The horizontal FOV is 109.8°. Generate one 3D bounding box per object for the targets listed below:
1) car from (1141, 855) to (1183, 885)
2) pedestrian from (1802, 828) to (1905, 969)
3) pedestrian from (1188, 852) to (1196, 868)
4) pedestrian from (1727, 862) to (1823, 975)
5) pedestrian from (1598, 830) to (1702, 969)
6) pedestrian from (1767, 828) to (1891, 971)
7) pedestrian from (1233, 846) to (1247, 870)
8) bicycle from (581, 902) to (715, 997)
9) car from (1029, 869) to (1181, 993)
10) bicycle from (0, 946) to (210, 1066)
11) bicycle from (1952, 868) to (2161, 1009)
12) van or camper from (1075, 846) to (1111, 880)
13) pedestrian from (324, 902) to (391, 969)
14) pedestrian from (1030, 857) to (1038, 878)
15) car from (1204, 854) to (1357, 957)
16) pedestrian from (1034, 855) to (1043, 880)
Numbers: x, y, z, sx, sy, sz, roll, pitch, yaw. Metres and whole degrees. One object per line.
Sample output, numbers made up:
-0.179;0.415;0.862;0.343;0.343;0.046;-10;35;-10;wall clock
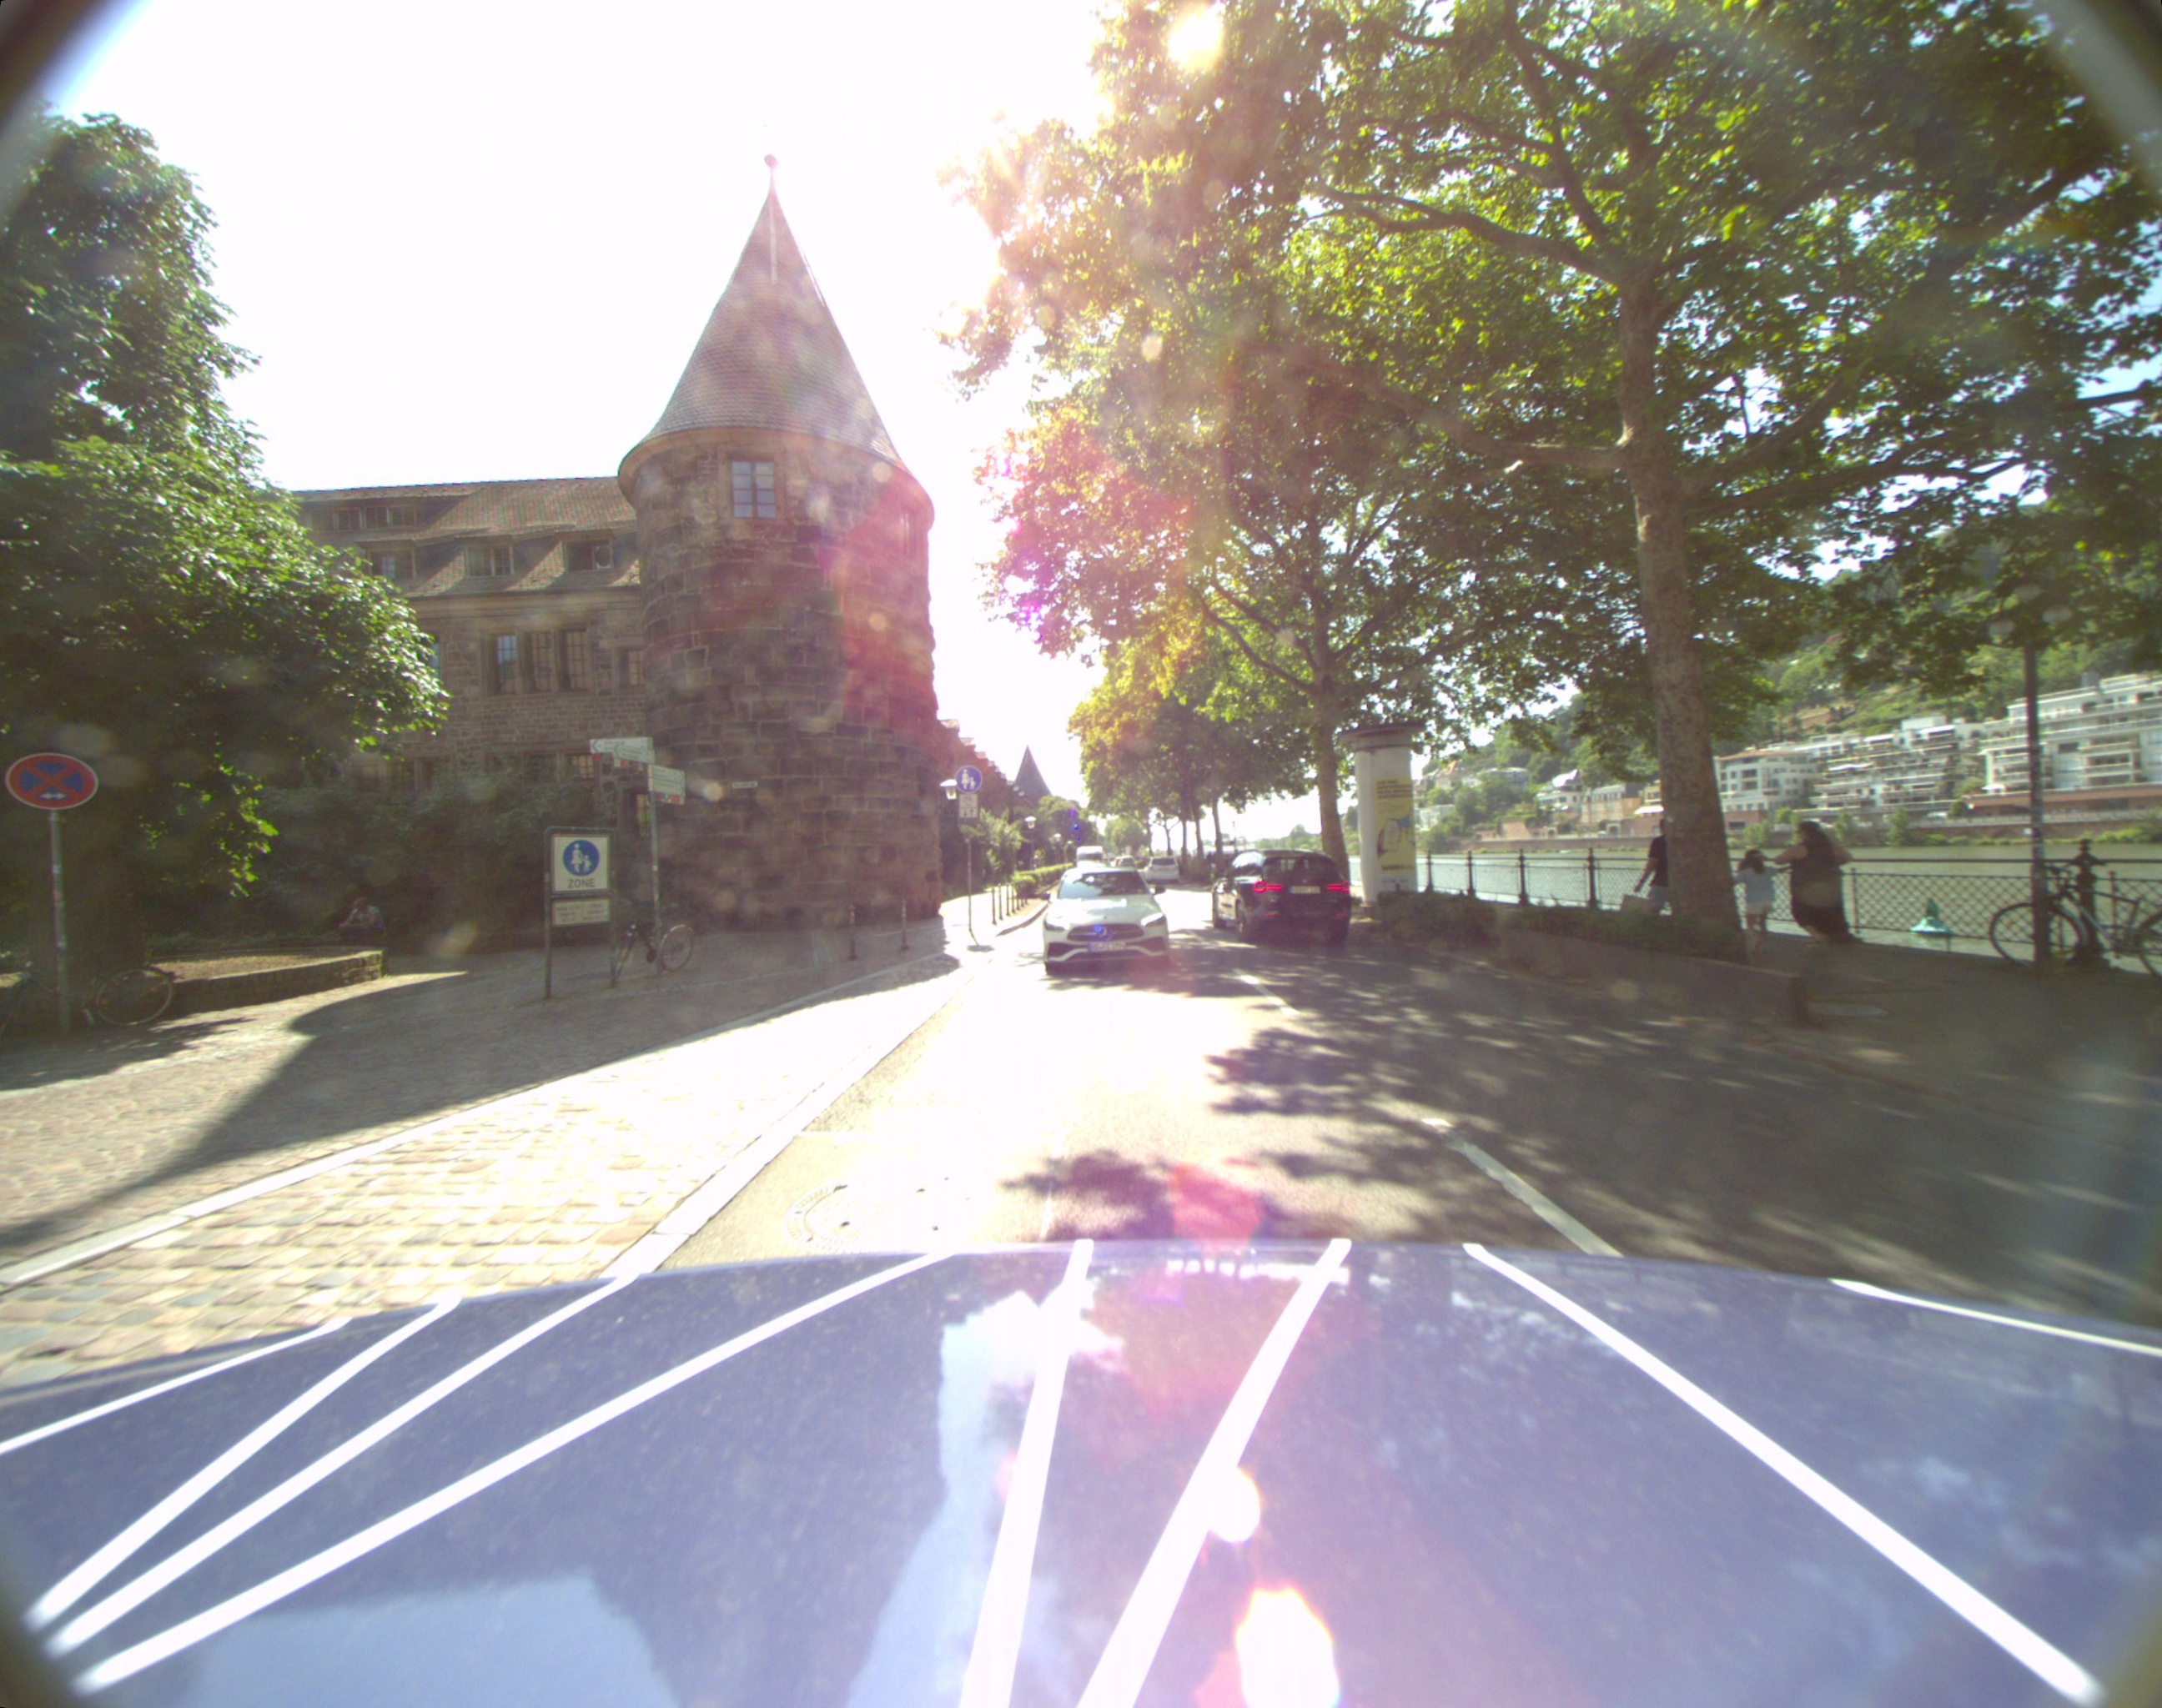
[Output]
4.687;0.906;44.527;1.998;1.598;4.258;-2;0;1;car
9.266;0.517;9.135;0.633;1.618;0.553;-2;1;1;pedestrian
12.350;0.657;84.461;0.760;1.696;0.730;-2;0;3;pedestrian
8.486;0.771;9.307;0.633;1.312;0.553;-2;1;1;pedestrian
7.389;0.570;9.907;0.760;1.720;0.730;-2;1;1;pedestrian
9.193;0.542;9.368;0.793;1.673;0.709;-2;1;1;pedestrian
11.570;0.277;55.312;0.760;1.697;0.730;-2;1;1;pedestrian
-6.325;1.354;11.241;0.845;1.146;1.844;-2;0;1;bicycle
0.391;1.022;11.923;1.875;1.415;4.745;-1;0;2;car
-11.005;1.632;8.369;0.659;0.996;1.714;-3;0;11;bicycle
9.584;0.747;7.167;0.564;1.146;1.844;-4;0;1;bicycle
0.872;0.643;57.018;2.437;2.271;6.204;-2;0;1;van or camper
-14.429;1.605;15.175;0.667;1.224;0.781;-3;1;-19;pedestrian
-3.945;1.132;63.779;0.592;1.662;0.442;-2;0;1;pedestrian
3.666;0.880;14.905;1.875;1.661;4.746;-1;-1;2;car
-3.155;0.978;56.362;0.556;1.844;1.023;-2;0;1;pedestrian
